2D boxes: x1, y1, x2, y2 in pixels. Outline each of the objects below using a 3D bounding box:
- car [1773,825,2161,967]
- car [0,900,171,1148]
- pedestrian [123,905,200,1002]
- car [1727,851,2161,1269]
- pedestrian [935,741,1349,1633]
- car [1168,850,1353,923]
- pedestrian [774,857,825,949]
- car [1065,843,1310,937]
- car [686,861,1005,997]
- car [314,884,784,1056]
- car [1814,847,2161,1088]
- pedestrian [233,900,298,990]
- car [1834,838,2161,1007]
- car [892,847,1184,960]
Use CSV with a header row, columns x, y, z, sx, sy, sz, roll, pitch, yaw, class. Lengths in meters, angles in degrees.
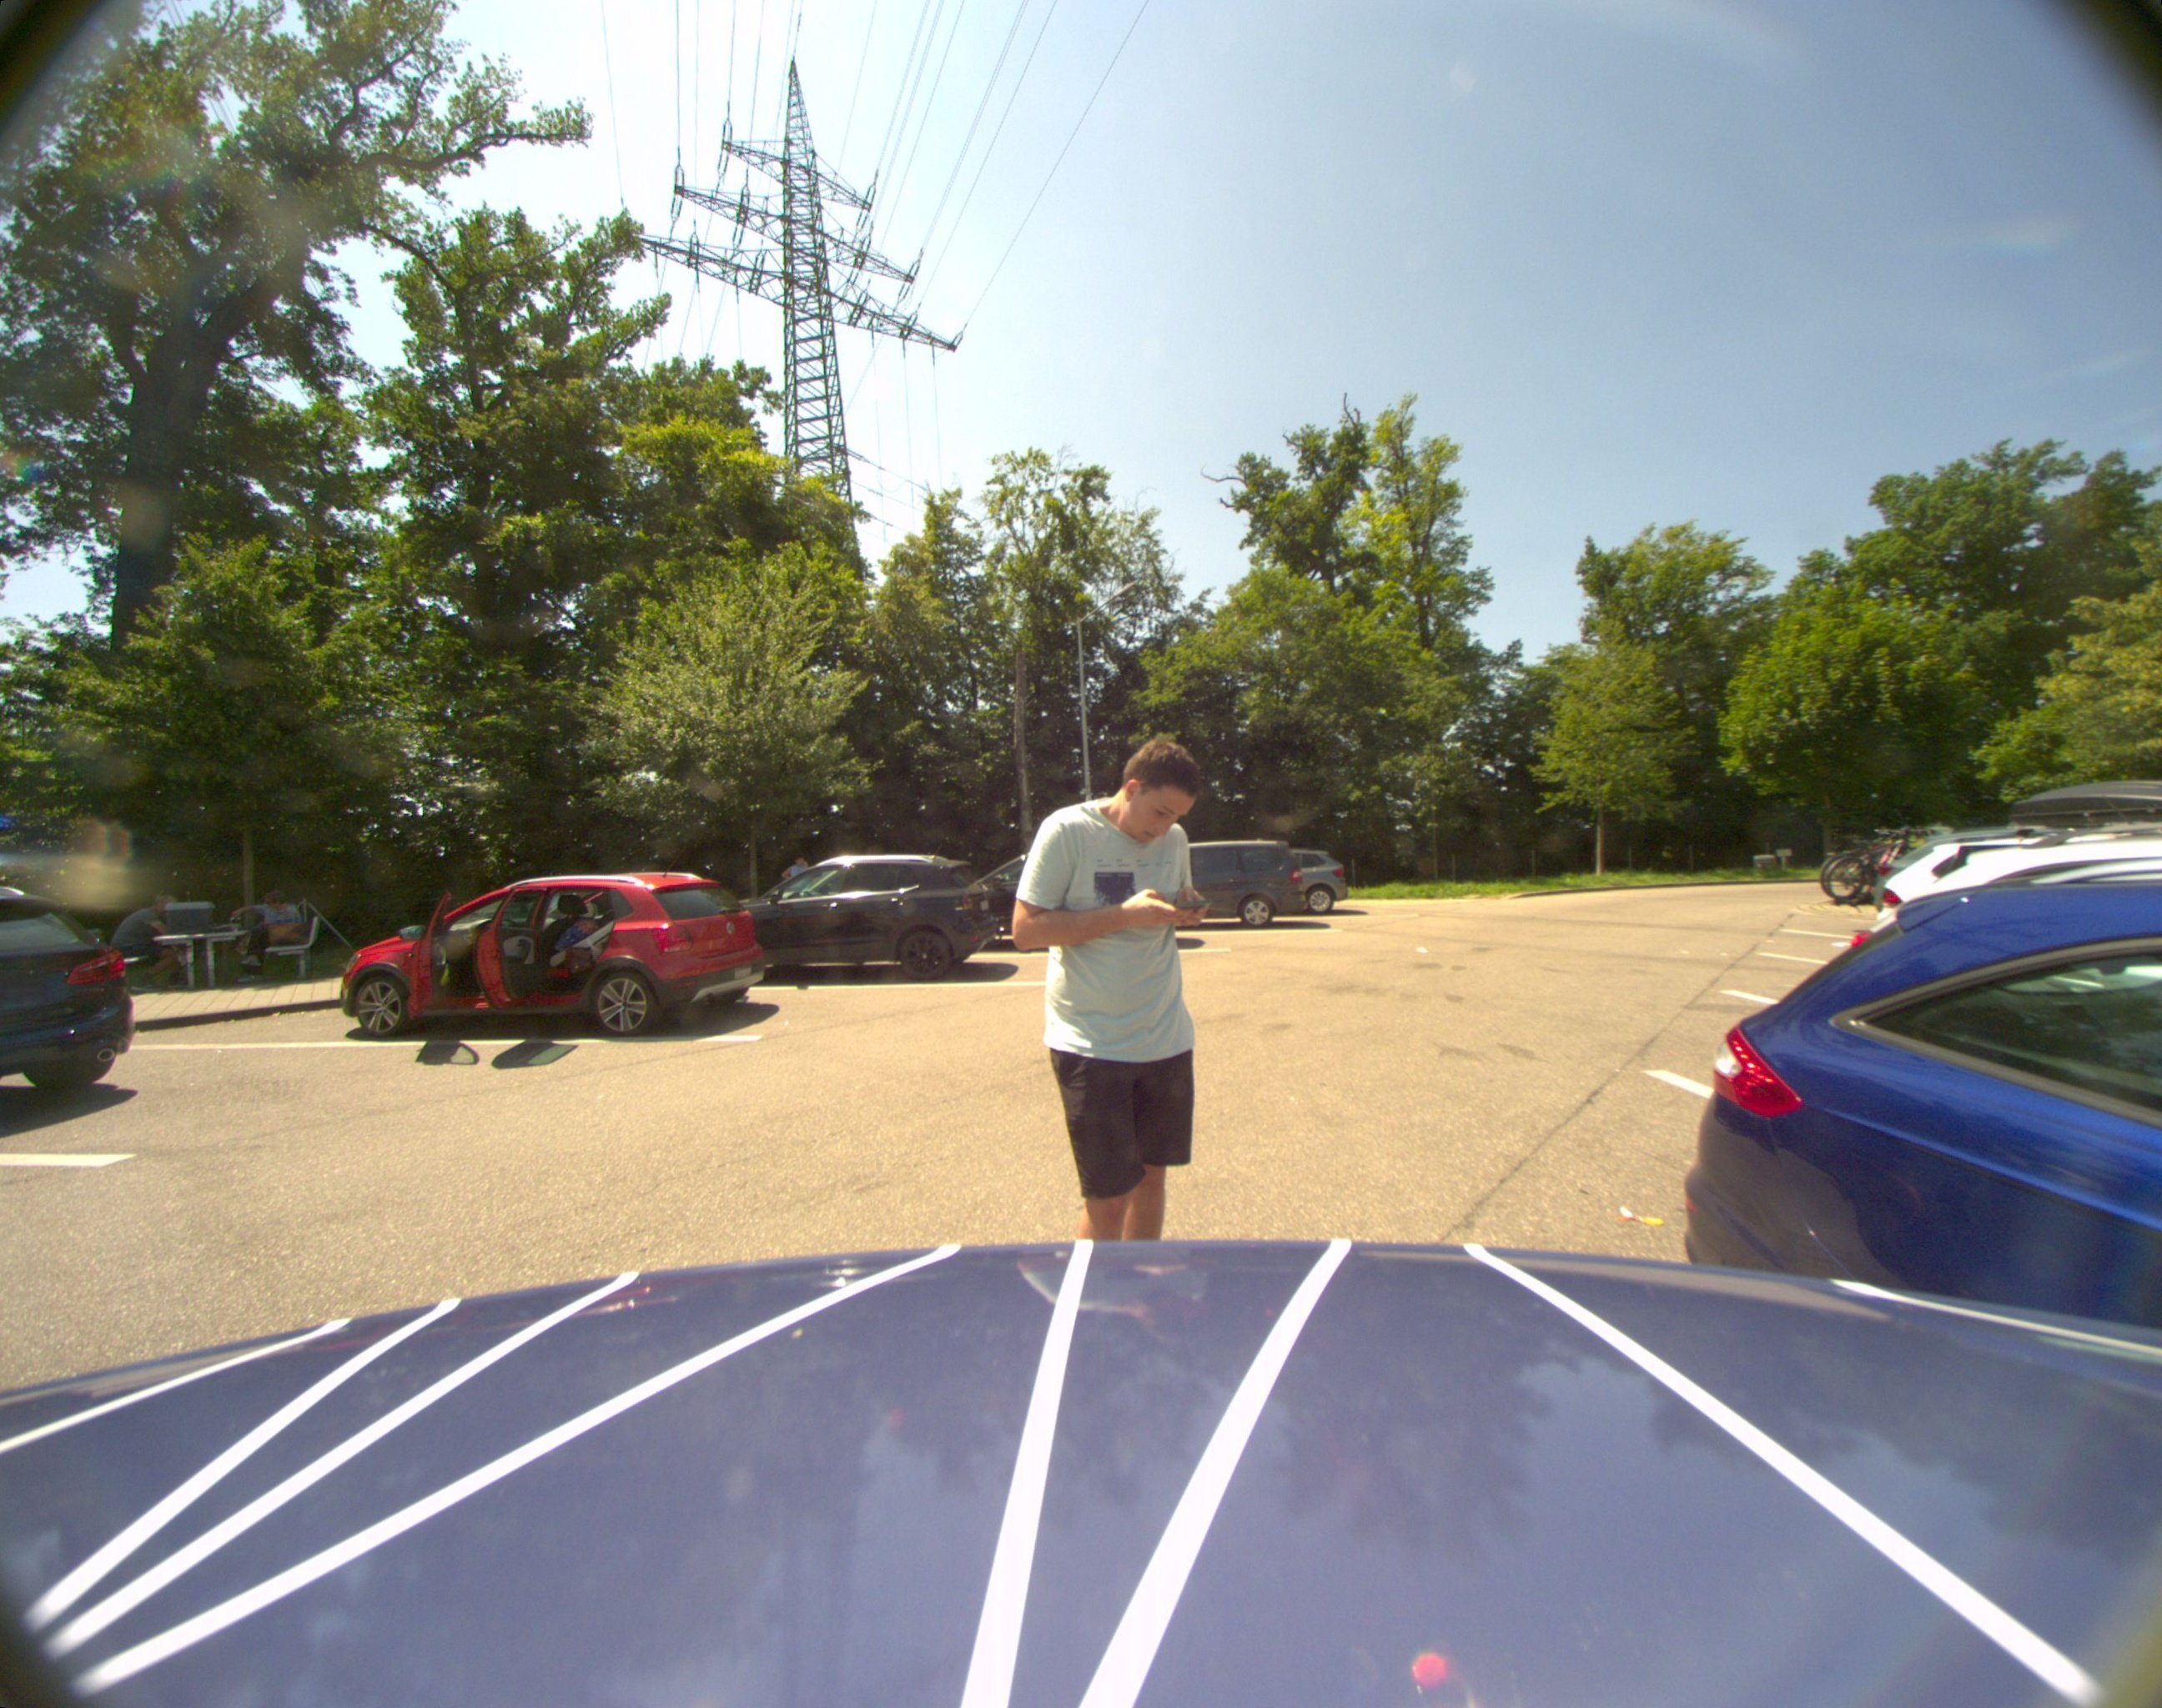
x,y,z,sx,sy,sz,roll,pitch,yaw,class
12.541,0.475,10.386,1.777,1.541,4.493,-3,-1,-5,car
-8.884,1.167,5.008,3.934,1.534,1.812,-2,0,7,car
-12.631,1.345,10.455,0.695,1.228,0.588,-3,0,43,pedestrian
4.873,0.743,2.370,1.776,1.491,4.495,-3,-1,-1,car
0.163,0.715,2.156,0.862,1.940,0.687,-3,1,-33,pedestrian
4.144,0.742,18.025,3.996,1.495,1.687,-2,1,3,car
-5.808,0.984,15.698,0.767,1.821,0.519,-3,2,-42,pedestrian
2.140,0.712,15.487,4.619,1.701,1.740,-2,0,9,car
-3.032,0.951,10.330,3.732,1.578,1.739,-2,0,2,car
-5.189,1.094,7.653,3.730,1.440,1.591,-2,0,7,car
7.476,0.674,4.528,1.776,1.418,4.495,-3,-1,-1,car
-11.950,1.311,11.143,0.695,1.228,0.588,-3,0,43,pedestrian
10.109,0.570,6.914,1.777,1.418,4.493,-3,-1,-5,car
-0.623,0.804,13.081,4.610,1.703,2.001,-2,1,10,car
